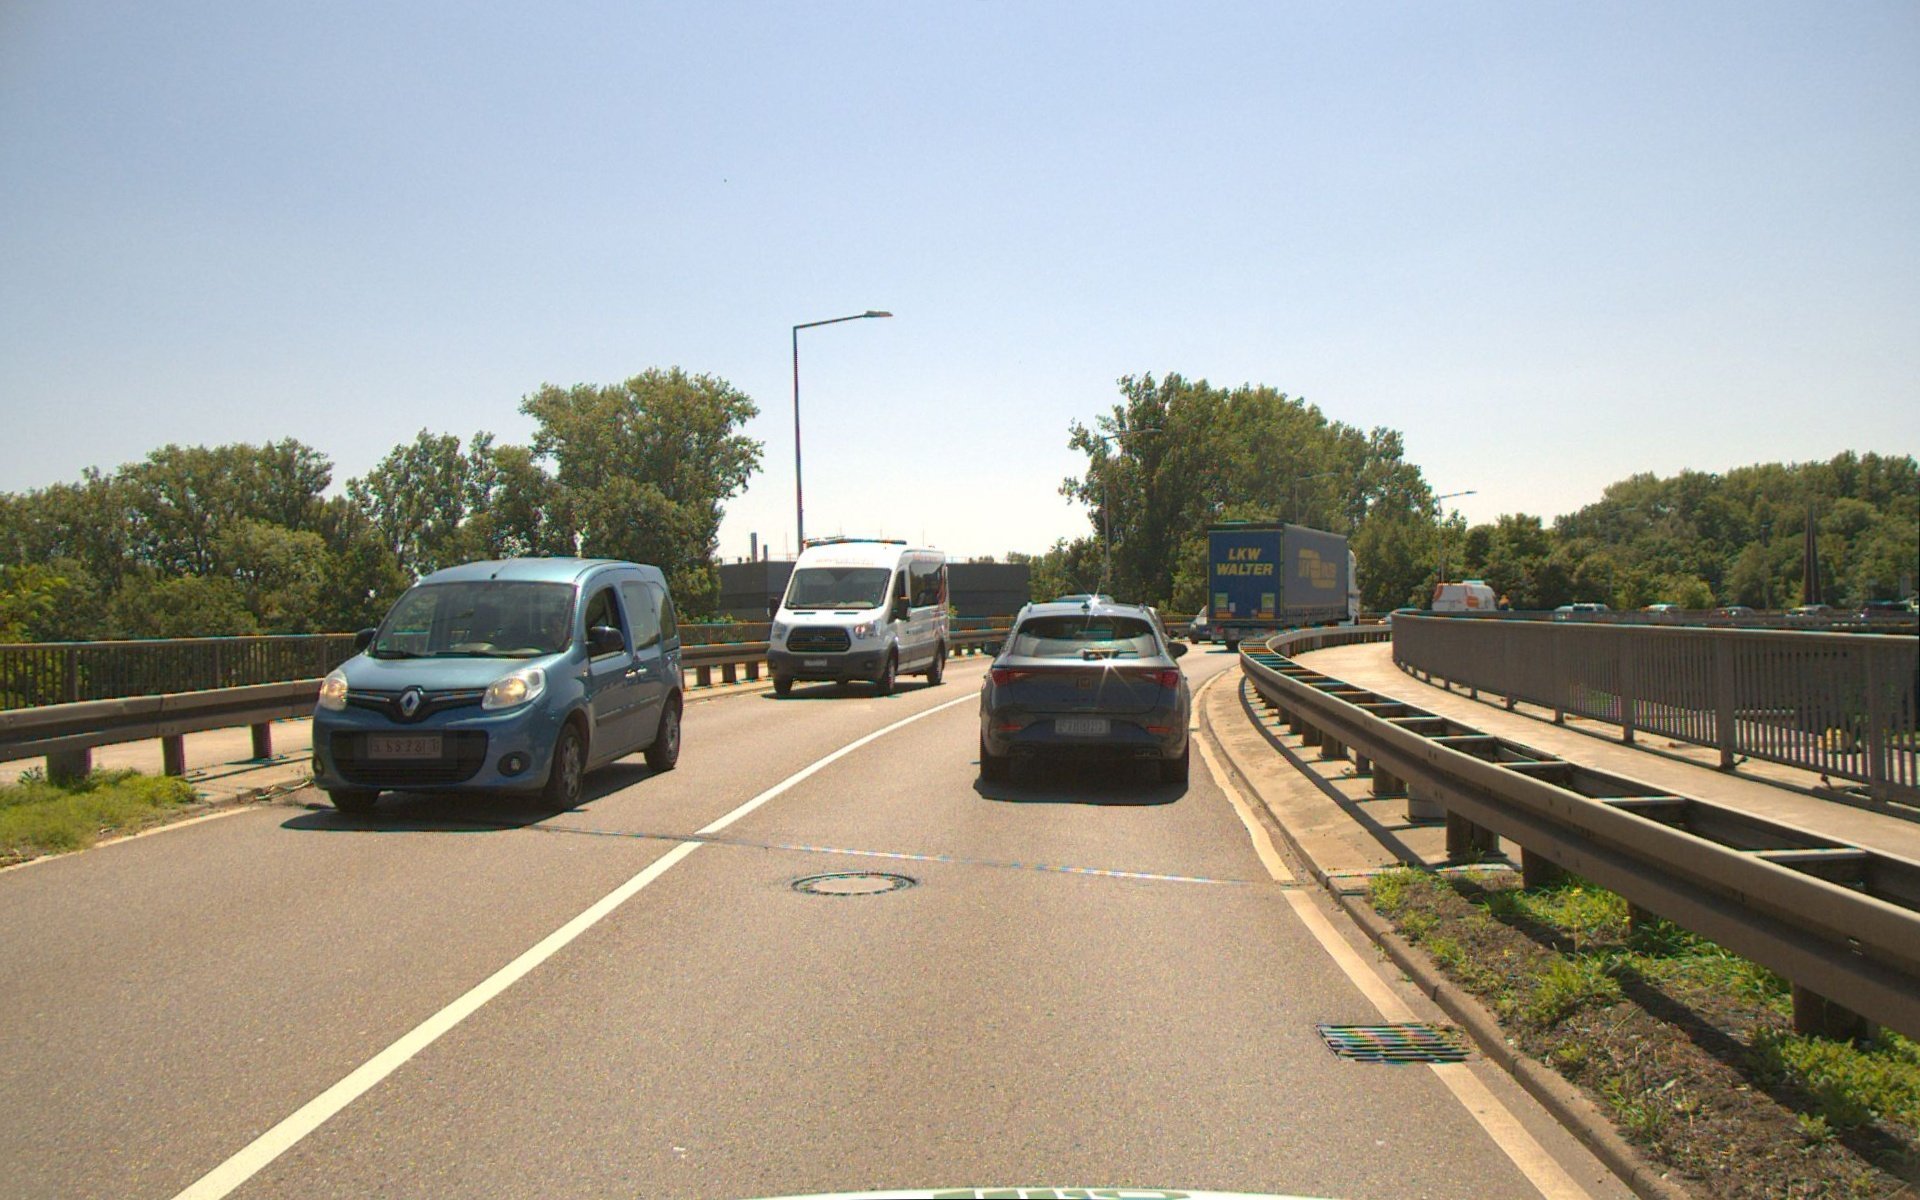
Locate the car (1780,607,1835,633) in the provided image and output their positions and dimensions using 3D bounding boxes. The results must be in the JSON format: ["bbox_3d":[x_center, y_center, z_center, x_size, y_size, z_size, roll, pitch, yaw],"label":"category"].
[{"bbox_3d":[62.228,1.474,121.445,3.950,1.882,1.873,1,-1,-33],"label":"car"}]

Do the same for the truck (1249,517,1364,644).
[{"bbox_3d":[13.687,-0.673,64.793,3.105,4.665,7.395,0,-1,22],"label":"truck"}]

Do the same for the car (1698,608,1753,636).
[{"bbox_3d":[53.253,1.532,115.064,3.957,1.882,1.870,1,-1,-37],"label":"car"}]

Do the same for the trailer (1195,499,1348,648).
[{"bbox_3d":[11.307,-0.791,58.715,3.069,4.695,12.948,1,0,21],"label":"trailer"}]

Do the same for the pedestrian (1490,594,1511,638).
[{"bbox_3d":[24.747,0.748,75.728,0.723,2.002,0.732,0,-1,32],"label":"pedestrian"}]

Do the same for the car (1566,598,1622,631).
[{"bbox_3d":[38.506,0.887,100.359,1.862,1.882,3.974,0,-1,43],"label":"car"}]

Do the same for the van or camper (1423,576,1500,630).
[{"bbox_3d":[26.354,0.139,86.772,2.165,2.758,5.904,0,0,35],"label":"van or camper"}]

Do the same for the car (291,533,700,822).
[{"bbox_3d":[-3.403,0.516,13.031,1.719,1.887,4.277,0,0,4],"label":"car"}]

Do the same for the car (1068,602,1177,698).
[{"bbox_3d":[2.826,0.810,28.245,1.559,1.487,3.548,1,0,10],"label":"car"}]

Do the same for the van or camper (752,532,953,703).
[{"bbox_3d":[-1.664,0.220,28.169,2.004,2.582,5.889,1,1,11],"label":"van or camper"}]

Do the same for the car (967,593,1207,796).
[{"bbox_3d":[1.093,0.709,14.417,1.807,1.525,3.760,0,0,4],"label":"car"}]

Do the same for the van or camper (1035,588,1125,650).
[{"bbox_3d":[3.719,0.588,50.549,1.951,1.792,4.701,-1,-1,14],"label":"van or camper"}]
